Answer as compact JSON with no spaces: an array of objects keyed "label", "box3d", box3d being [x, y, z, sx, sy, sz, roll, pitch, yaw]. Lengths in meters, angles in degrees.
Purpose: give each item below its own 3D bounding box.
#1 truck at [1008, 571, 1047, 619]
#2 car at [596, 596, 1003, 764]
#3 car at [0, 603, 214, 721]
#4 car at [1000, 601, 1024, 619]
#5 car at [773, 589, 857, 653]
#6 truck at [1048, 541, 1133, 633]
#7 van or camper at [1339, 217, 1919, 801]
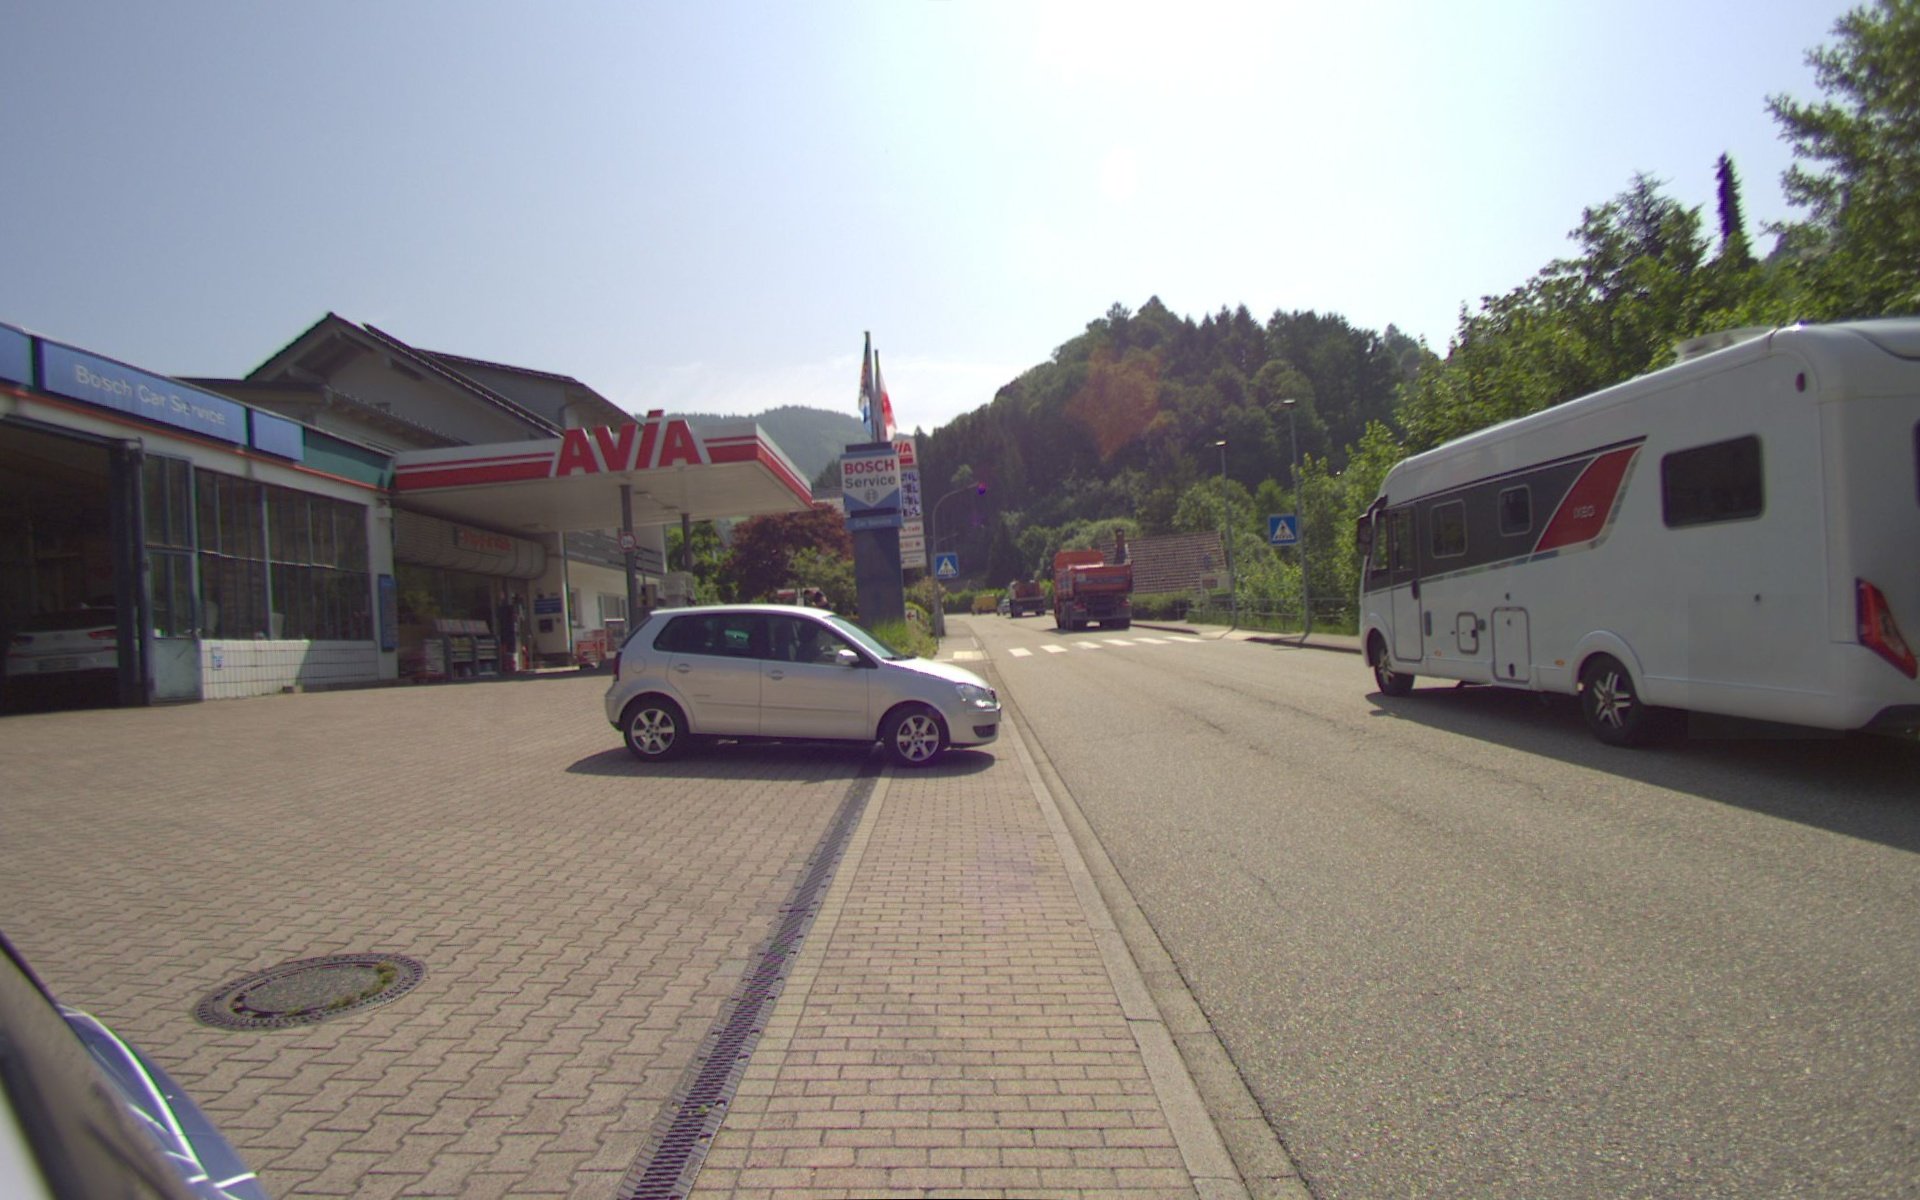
[{"label":"truck","box3d":[5.356,-0.382,81.698,2.616,3.609,7.770,-3,0,1]},{"label":"car","box3d":[-1.438,0.715,9.934,3.708,1.493,1.594,0,0,4]},{"label":"car","box3d":[-14.021,0.915,16.789,1.578,1.701,3.943,-1,0,-20]},{"label":"car","box3d":[4.755,0.889,93.171,1.762,1.586,3.601,-1,0,-3]},{"label":"car","box3d":[-3.845,0.535,27.425,1.674,1.589,3.910,-1,0,1]},{"label":"truck","box3d":[5.673,-0.535,45.341,2.616,3.609,8.192,-3,0,0]},{"label":"van or camper","box3d":[6.072,-0.452,8.822,2.333,2.975,8.050,-3,-1,0]}]
